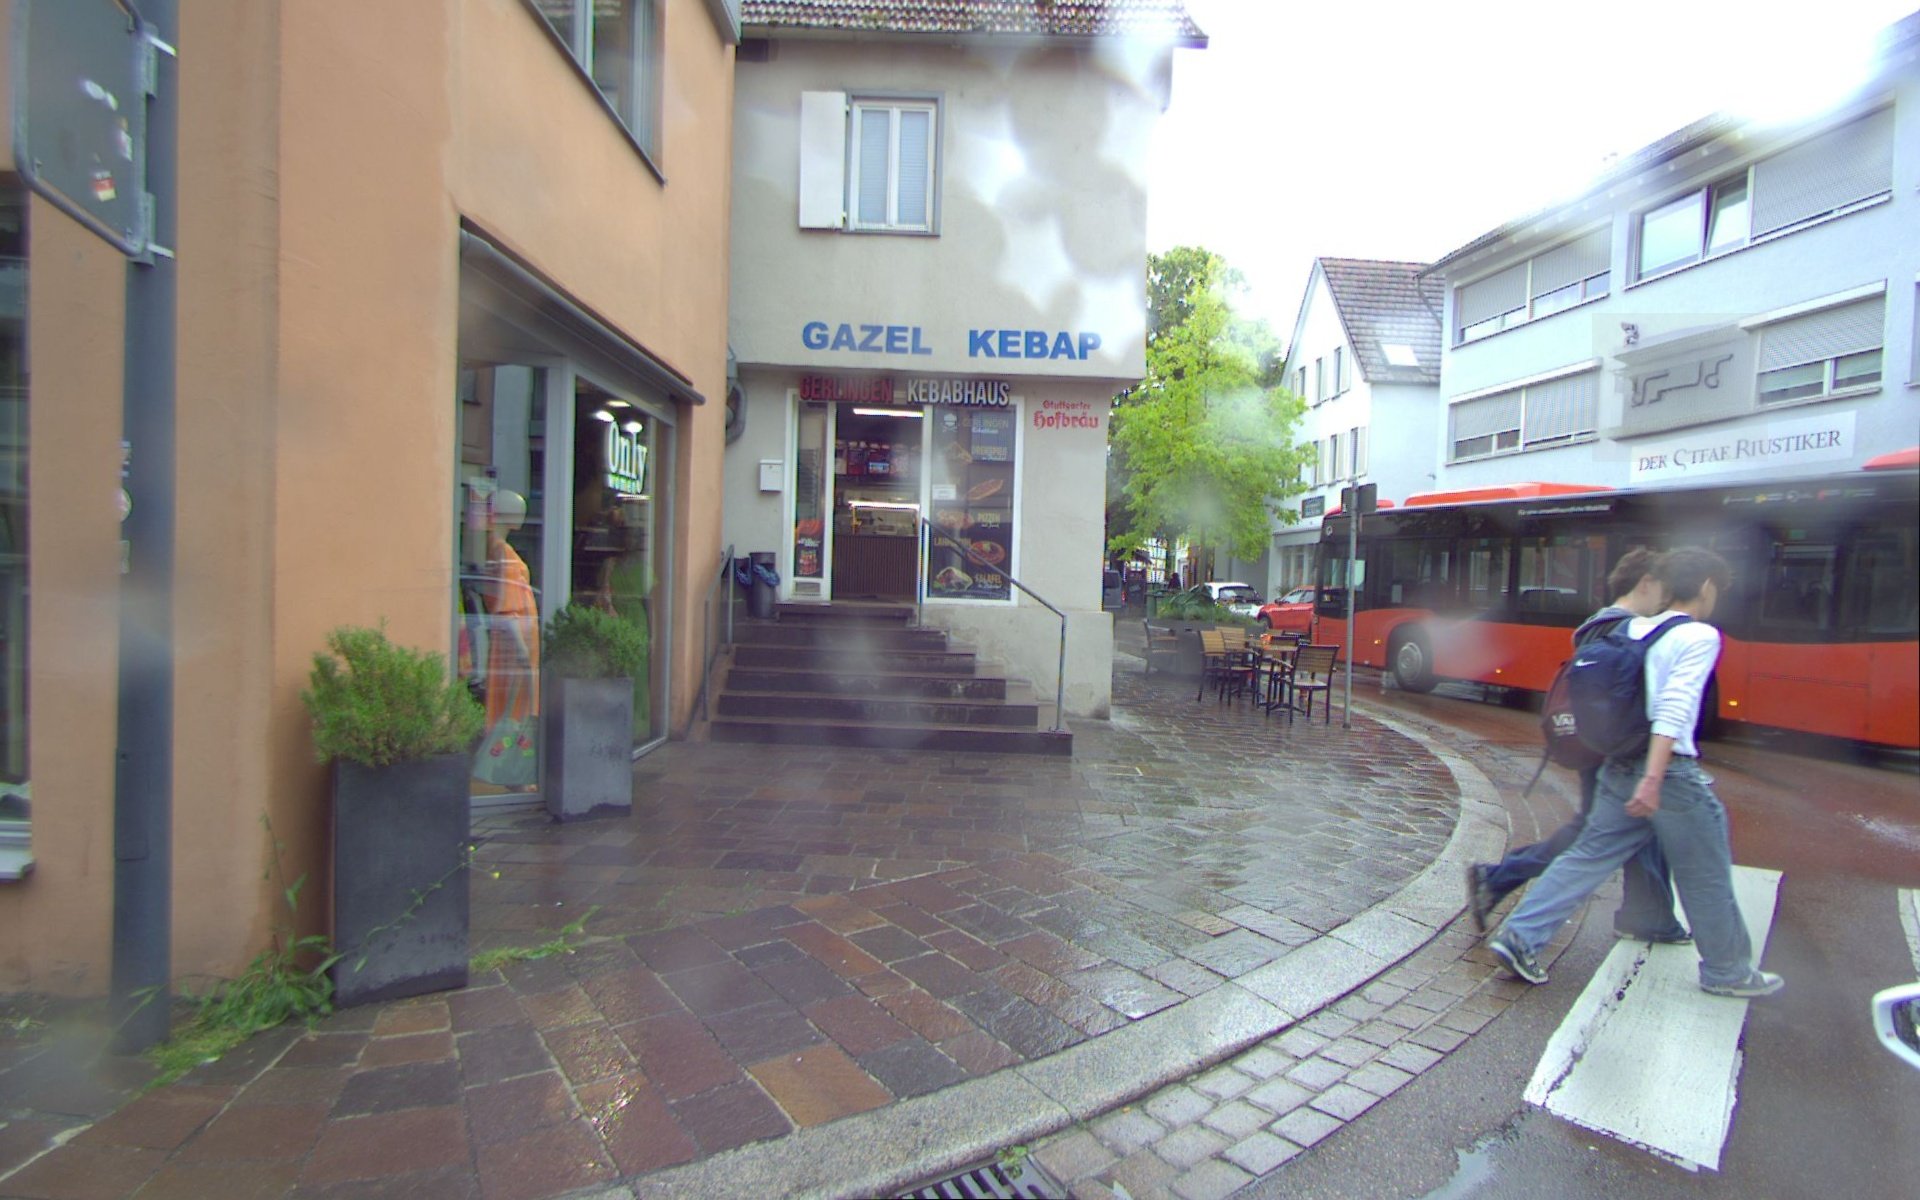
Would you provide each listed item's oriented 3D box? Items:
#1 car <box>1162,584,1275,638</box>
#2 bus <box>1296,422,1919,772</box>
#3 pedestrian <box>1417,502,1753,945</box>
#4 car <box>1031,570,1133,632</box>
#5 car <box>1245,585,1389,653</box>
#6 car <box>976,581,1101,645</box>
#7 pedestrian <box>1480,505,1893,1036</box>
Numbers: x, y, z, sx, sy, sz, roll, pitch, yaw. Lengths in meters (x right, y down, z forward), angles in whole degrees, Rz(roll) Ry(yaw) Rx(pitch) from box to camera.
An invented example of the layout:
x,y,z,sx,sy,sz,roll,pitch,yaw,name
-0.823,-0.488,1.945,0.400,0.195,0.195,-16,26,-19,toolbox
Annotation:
x,y,z,sx,sy,sz,roll,pitch,yaw,name
7.847,0.299,30.837,1.769,1.515,3.851,2,0,-13,car
8.836,-0.066,13.373,2.775,3.130,10.573,3,1,-15,bus
2.788,0.513,4.588,1.037,1.824,0.695,2,1,5,pedestrian
3.879,-0.029,32.886,1.918,1.805,4.716,0,2,-11,car
8.891,0.419,25.331,1.653,1.549,3.789,0,2,-12,car
2.020,0.305,27.017,1.702,1.433,3.959,3,1,-22,car
2.731,0.596,3.884,1.040,1.831,0.666,2,1,4,pedestrian
